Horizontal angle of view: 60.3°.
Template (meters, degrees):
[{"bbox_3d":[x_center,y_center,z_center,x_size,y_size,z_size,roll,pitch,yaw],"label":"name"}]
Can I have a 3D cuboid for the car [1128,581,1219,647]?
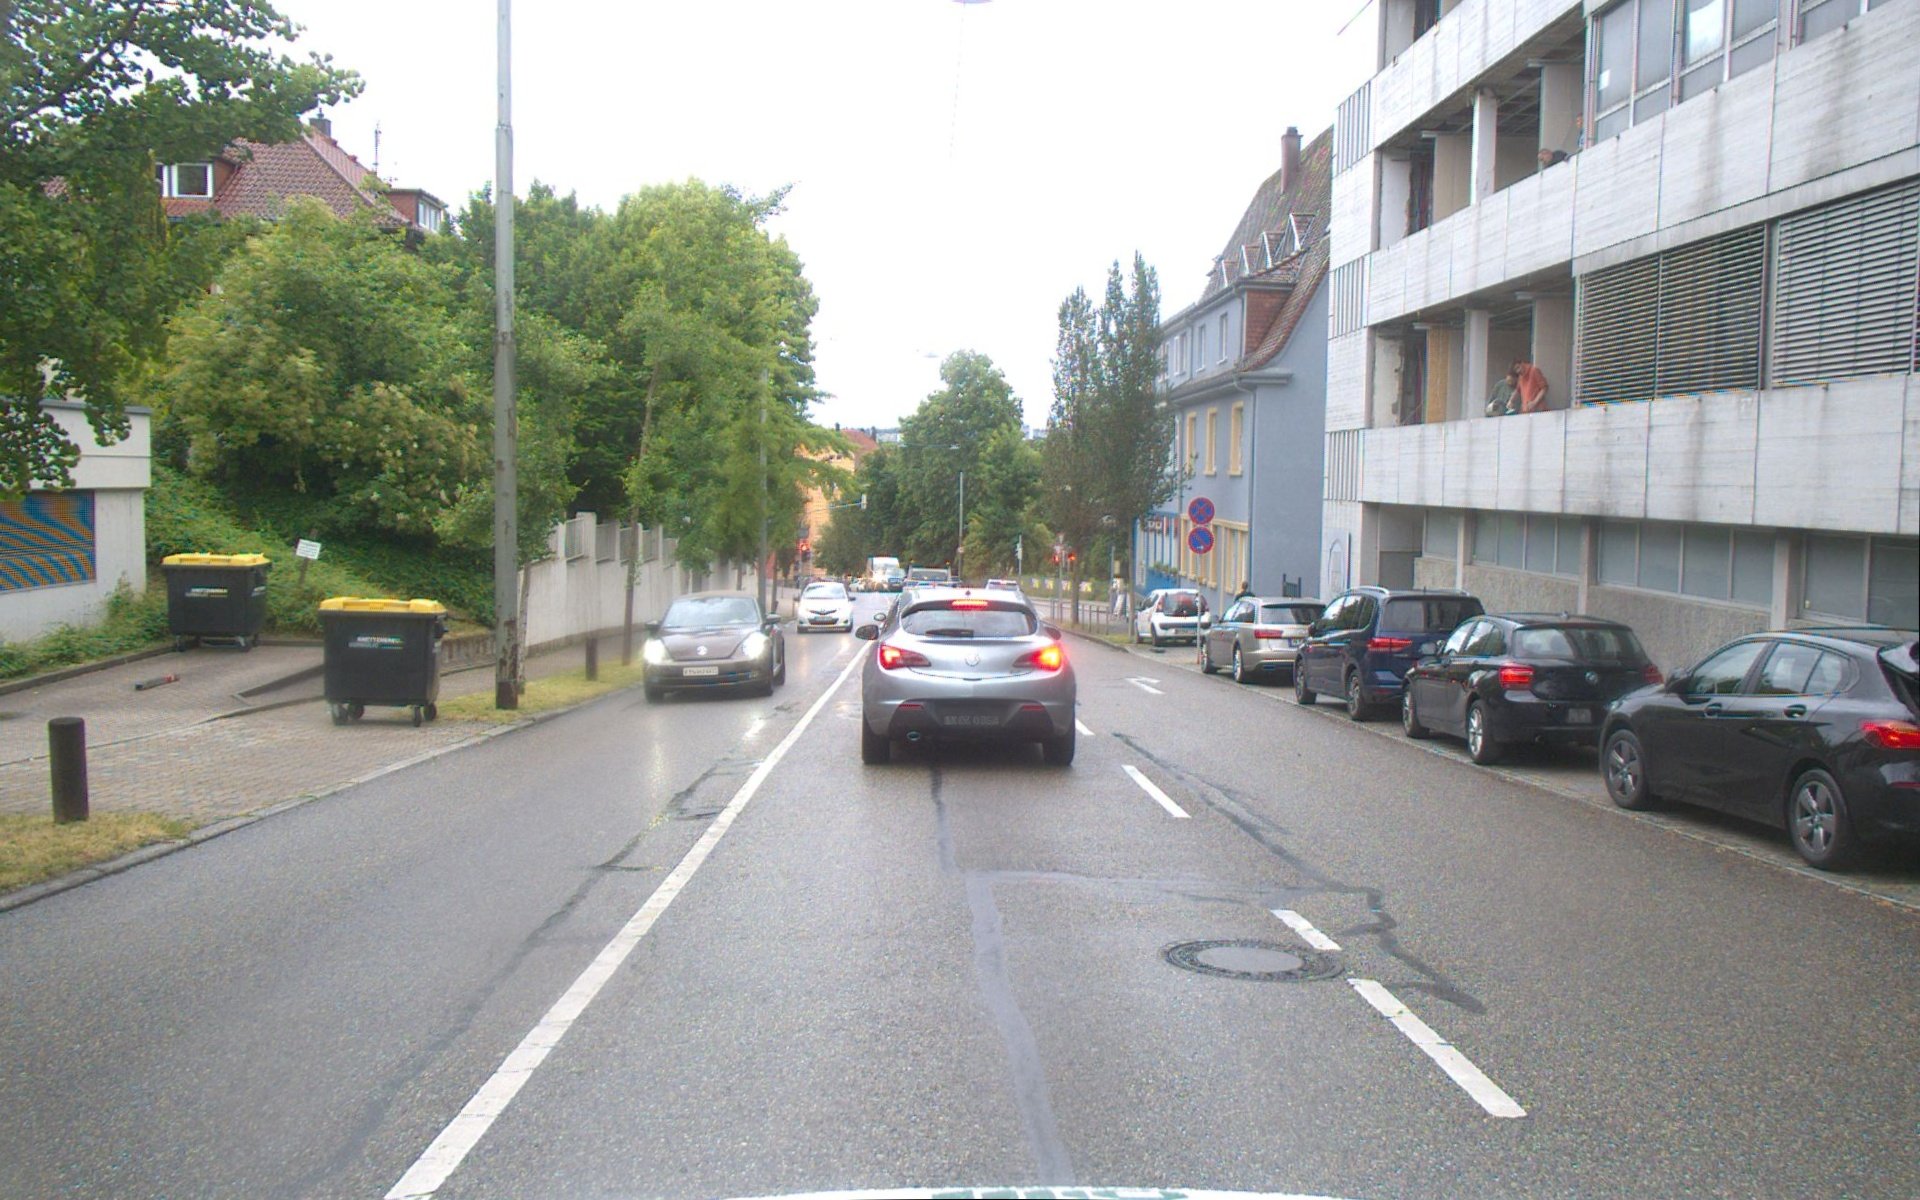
[{"bbox_3d":[5.654,0.336,44.232,1.867,1.598,4.000,0,1,-1],"label":"car"}]

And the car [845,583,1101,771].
[{"bbox_3d":[-0.019,0.597,15.048,1.907,1.457,3.880,1,1,-6],"label":"car"}]

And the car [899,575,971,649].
[{"bbox_3d":[-0.728,0.286,46.092,1.734,1.811,3.974,4,1,-3],"label":"car"}]

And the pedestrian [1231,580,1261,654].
[{"bbox_3d":[7.174,0.416,41.488,0.632,1.815,0.542,1,1,-1],"label":"pedestrian"}]

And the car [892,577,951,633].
[{"bbox_3d":[-1.298,0.137,54.676,1.719,1.679,3.998,4,0,-3],"label":"car"}]

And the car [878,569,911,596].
[{"bbox_3d":[-4.286,-1.170,108.543,1.953,1.562,4.308,4,1,-1],"label":"car"}]

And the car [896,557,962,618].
[{"bbox_3d":[-1.161,-0.516,62.380,2.287,2.071,4.734,4,1,-1],"label":"car"}]

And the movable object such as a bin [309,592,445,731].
[{"bbox_3d":[-6.222,0.647,17.677,1.247,1.411,0.488,2,1,-4],"label":"movable object such as a bin"}]

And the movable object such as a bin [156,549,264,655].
[{"bbox_3d":[-10.448,0.024,23.067,1.247,1.411,0.488,2,1,-4],"label":"movable object such as a bin"}]

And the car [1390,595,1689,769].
[{"bbox_3d":[5.805,0.739,17.082,1.647,1.489,4.000,0,1,-1],"label":"car"}]

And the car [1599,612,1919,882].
[{"bbox_3d":[5.969,0.845,11.352,1.473,1.460,3.998,0,0,-3],"label":"car"}]

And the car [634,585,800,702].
[{"bbox_3d":[-3.469,0.565,24.314,1.812,1.494,4.087,-2,0,-1],"label":"car"}]

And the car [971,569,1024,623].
[{"bbox_3d":[1.564,-0.201,71.145,1.953,2.071,4.734,4,1,-1],"label":"car"}]

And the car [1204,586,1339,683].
[{"bbox_3d":[5.447,0.545,29.350,1.552,1.519,4.290,0,1,-1],"label":"car"}]

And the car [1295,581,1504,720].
[{"bbox_3d":[5.665,0.587,21.790,1.651,1.598,4.000,0,1,-1],"label":"car"}]

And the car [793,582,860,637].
[{"bbox_3d":[-4.157,0.260,51.969,1.786,1.504,3.863,-3,2,-1],"label":"car"}]

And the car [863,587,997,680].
[{"bbox_3d":[-0.570,0.496,26.914,1.763,1.346,3.994,2,0,-7],"label":"car"}]

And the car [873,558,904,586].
[{"bbox_3d":[-4.956,-1.952,115.312,1.953,1.815,4.000,4,1,-1],"label":"car"}]
